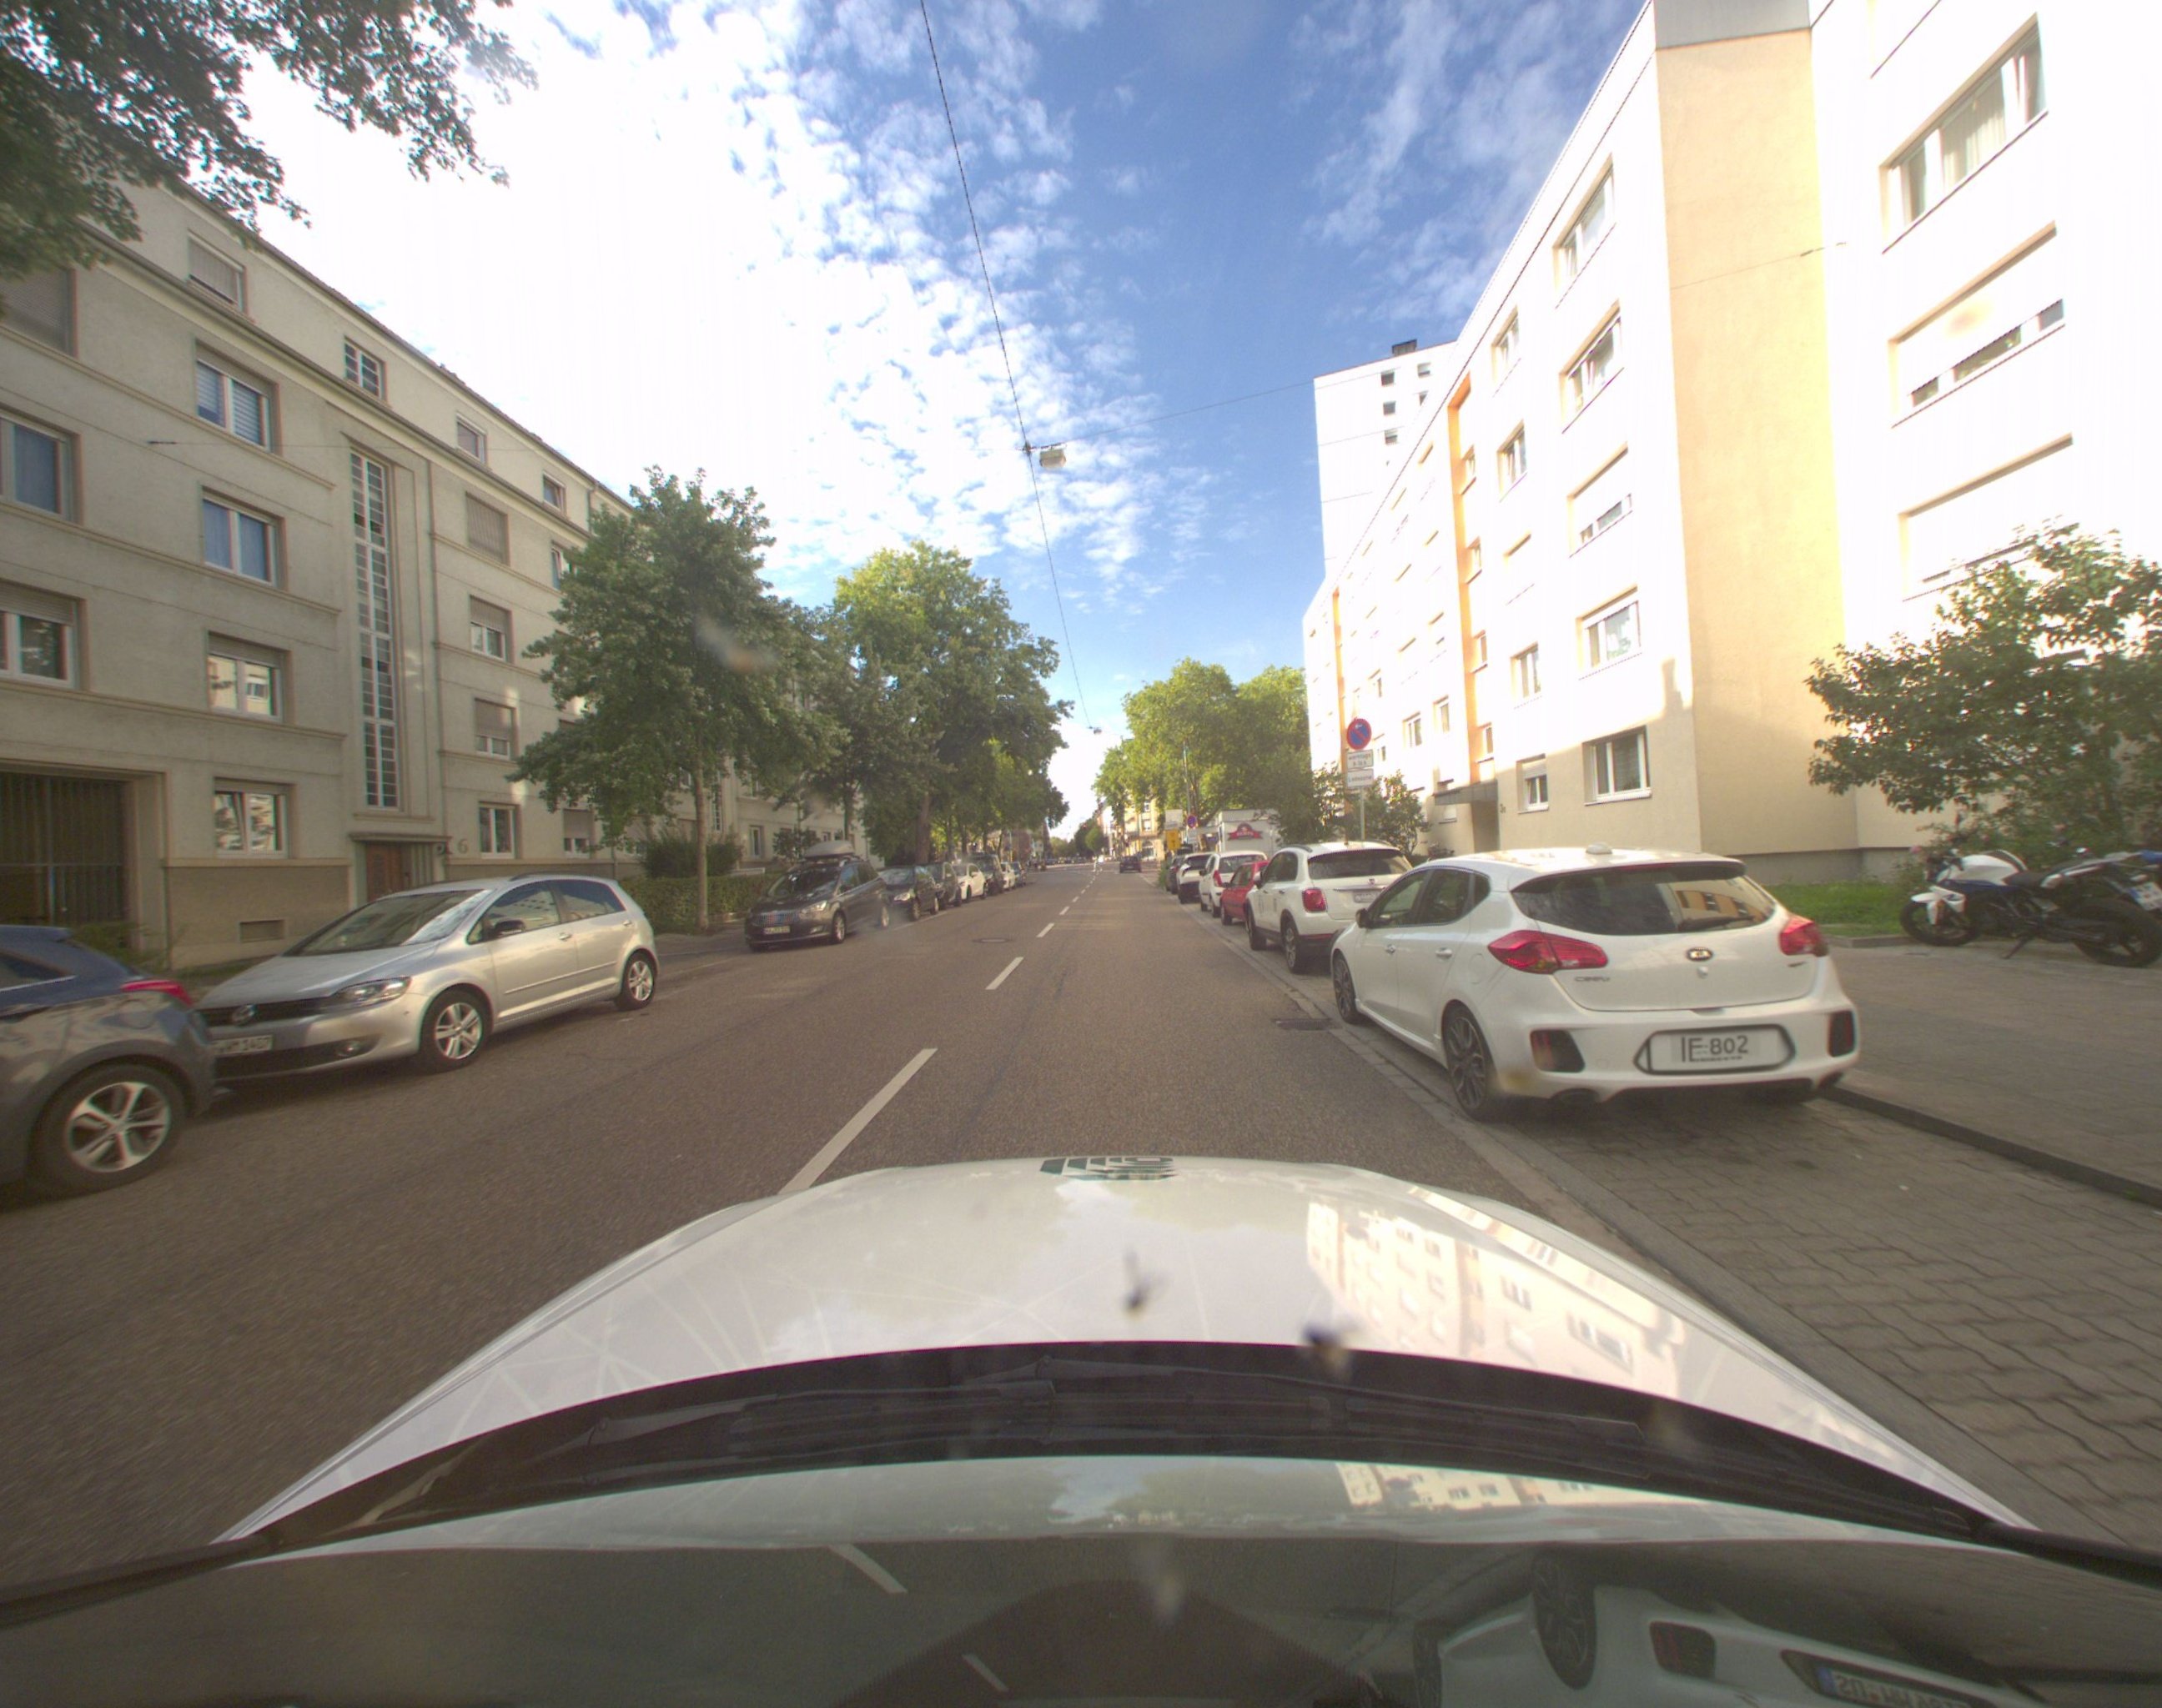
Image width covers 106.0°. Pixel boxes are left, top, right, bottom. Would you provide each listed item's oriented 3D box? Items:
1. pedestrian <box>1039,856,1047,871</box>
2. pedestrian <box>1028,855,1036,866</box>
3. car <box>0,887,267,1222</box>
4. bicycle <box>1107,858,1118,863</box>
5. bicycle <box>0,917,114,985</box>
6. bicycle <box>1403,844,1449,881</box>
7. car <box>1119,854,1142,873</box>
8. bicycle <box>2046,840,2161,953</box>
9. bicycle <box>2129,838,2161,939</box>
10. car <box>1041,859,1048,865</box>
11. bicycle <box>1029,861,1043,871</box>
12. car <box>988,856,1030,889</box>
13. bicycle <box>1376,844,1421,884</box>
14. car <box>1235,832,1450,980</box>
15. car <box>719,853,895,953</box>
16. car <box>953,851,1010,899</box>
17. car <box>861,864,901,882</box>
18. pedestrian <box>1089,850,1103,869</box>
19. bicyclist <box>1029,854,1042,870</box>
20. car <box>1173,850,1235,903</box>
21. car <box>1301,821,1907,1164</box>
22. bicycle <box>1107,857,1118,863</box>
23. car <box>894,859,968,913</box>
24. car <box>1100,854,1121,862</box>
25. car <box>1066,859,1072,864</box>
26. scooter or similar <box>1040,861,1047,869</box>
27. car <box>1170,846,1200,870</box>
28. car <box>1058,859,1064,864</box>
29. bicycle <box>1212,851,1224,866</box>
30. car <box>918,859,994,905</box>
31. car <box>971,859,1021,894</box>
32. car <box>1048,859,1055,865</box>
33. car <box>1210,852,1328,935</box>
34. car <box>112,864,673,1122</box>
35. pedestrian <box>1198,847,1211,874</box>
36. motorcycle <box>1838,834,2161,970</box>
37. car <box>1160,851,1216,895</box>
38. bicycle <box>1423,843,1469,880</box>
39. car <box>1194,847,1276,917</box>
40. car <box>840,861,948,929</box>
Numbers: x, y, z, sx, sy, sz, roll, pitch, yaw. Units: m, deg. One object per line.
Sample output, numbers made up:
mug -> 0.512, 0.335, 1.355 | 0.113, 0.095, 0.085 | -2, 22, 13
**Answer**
pedestrian -> -4.357, 1.042, 92.988 | 0.810, 1.654, 1.076 | -3, 0, 1
pedestrian -> -7.580, 1.072, 126.243 | 0.774, 1.662, 0.783 | -3, 0, 22
car -> -5.758, 1.006, 2.857 | 1.609, 1.468, 4.014 | -5, 0, 0
bicycle -> 6.415, 1.313, 164.902 | 2.023, 1.082, 0.618 | -3, 0, -11
bicycle -> -19.950, 1.821, 15.204 | 2.576, 1.123, 0.991 | -2, 0, 0
bicycle -> 11.112, 0.273, 26.293 | 0.594, 1.115, 2.211 | -4, 0, 3
car -> 4.074, 0.779, 67.888 | 1.745, 1.413, 4.002 | -2, 0, 2
bicycle -> 9.451, 0.358, 7.016 | 0.457, 0.941, 1.517 | -4, 0, 2
bicycle -> 10.277, 0.313, 7.037 | 0.457, 0.927, 1.517 | -4, 0, 2
car -> -9.536, 2.062, 210.966 | 1.545, 1.230, 3.589 | -2, 0, 2
bicycle -> -4.719, 1.213, 86.035 | 0.754, 0.994, 1.937 | -2, 0, 21
car -> -4.017, 1.010, 46.024 | 1.793, 1.620, 3.803 | -5, 0, 1
bicycle -> 10.304, 0.311, 26.505 | 0.594, 1.186, 2.211 | -6, 0, 3
car -> 3.381, 0.612, 11.393 | 1.722, 1.580, 4.119 | -4, -1, 2
car -> -5.486, 0.894, 17.032 | 1.791, 1.668, 4.487 | -5, 0, 4
car -> -4.351, 0.868, 36.159 | 1.716, 1.882, 4.194 | -5, 0, 2
car -> -18.672, 1.768, 76.226 | 1.577, 1.477, 3.727 | -3, 0, 23
pedestrian -> 1.408, 0.548, 76.780 | 1.076, 1.753, 0.915 | -2, 0, -14
bicyclist -> -4.798, 0.865, 85.917 | 0.804, 1.691, 1.119 | -2, 0, 23
car -> 3.898, 0.669, 26.420 | 1.682, 1.528, 4.244 | -3, 0, 5
car -> 3.026, 0.657, 6.089 | 1.721, 1.487, 4.646 | -4, -1, 4
bicycle -> 6.403, 1.221, 165.535 | 2.023, 1.082, 0.628 | -3, 0, -11
car -> -4.820, 0.993, 26.575 | 1.546, 1.520, 3.019 | -5, 0, 4
car -> 6.109, 0.899, 167.313 | 3.980, 1.420, 1.997 | -3, 0, -5
car -> -3.614, 2.292, 251.034 | 1.771, 1.230, 3.589 | -2, 0, 2
scooter or similar -> -4.322, 1.250, 94.112 | 0.803, 0.923, 1.014 | -3, 0, 0
car -> 6.727, 0.256, 52.833 | 1.752, 1.411, 4.240 | -4, 0, 6
car -> -6.394, 2.386, 258.918 | 1.545, 1.230, 3.589 | -2, 0, 2
bicycle -> 11.405, 0.391, 68.021 | 0.765, 1.206, 1.818 | -4, 0, 5
car -> -4.668, 1.007, 30.963 | 1.686, 1.493, 4.339 | -4, 0, 6
car -> -4.277, 1.115, 41.451 | 1.791, 1.493, 3.806 | -5, 0, 3
car -> -7.318, 1.980, 200.535 | 1.545, 1.230, 3.589 | -2, 0, 2
car -> 3.679, 0.723, 16.496 | 1.510, 1.398, 3.676 | -4, -1, 1
car -> -5.833, 1.000, 7.710 | 1.732, 1.620, 3.995 | -5, 0, 1
pedestrian -> 7.668, 0.414, 50.623 | 0.650, 1.645, 0.743 | -2, 0, 2
motorcycle -> 8.569, 0.379, 7.675 | 0.628, 1.044, 2.395 | -4, 0, 2
car -> 4.147, 0.713, 32.227 | 1.684, 1.528, 4.239 | -3, 0, 1
bicycle -> 11.728, 0.237, 26.263 | 0.527, 1.115, 2.211 | -4, 0, 3
car -> 3.801, 0.654, 20.600 | 1.544, 1.557, 3.471 | -3, 0, 3
car -> -4.931, 1.025, 22.038 | 1.693, 1.487, 3.851 | -5, 0, 3
